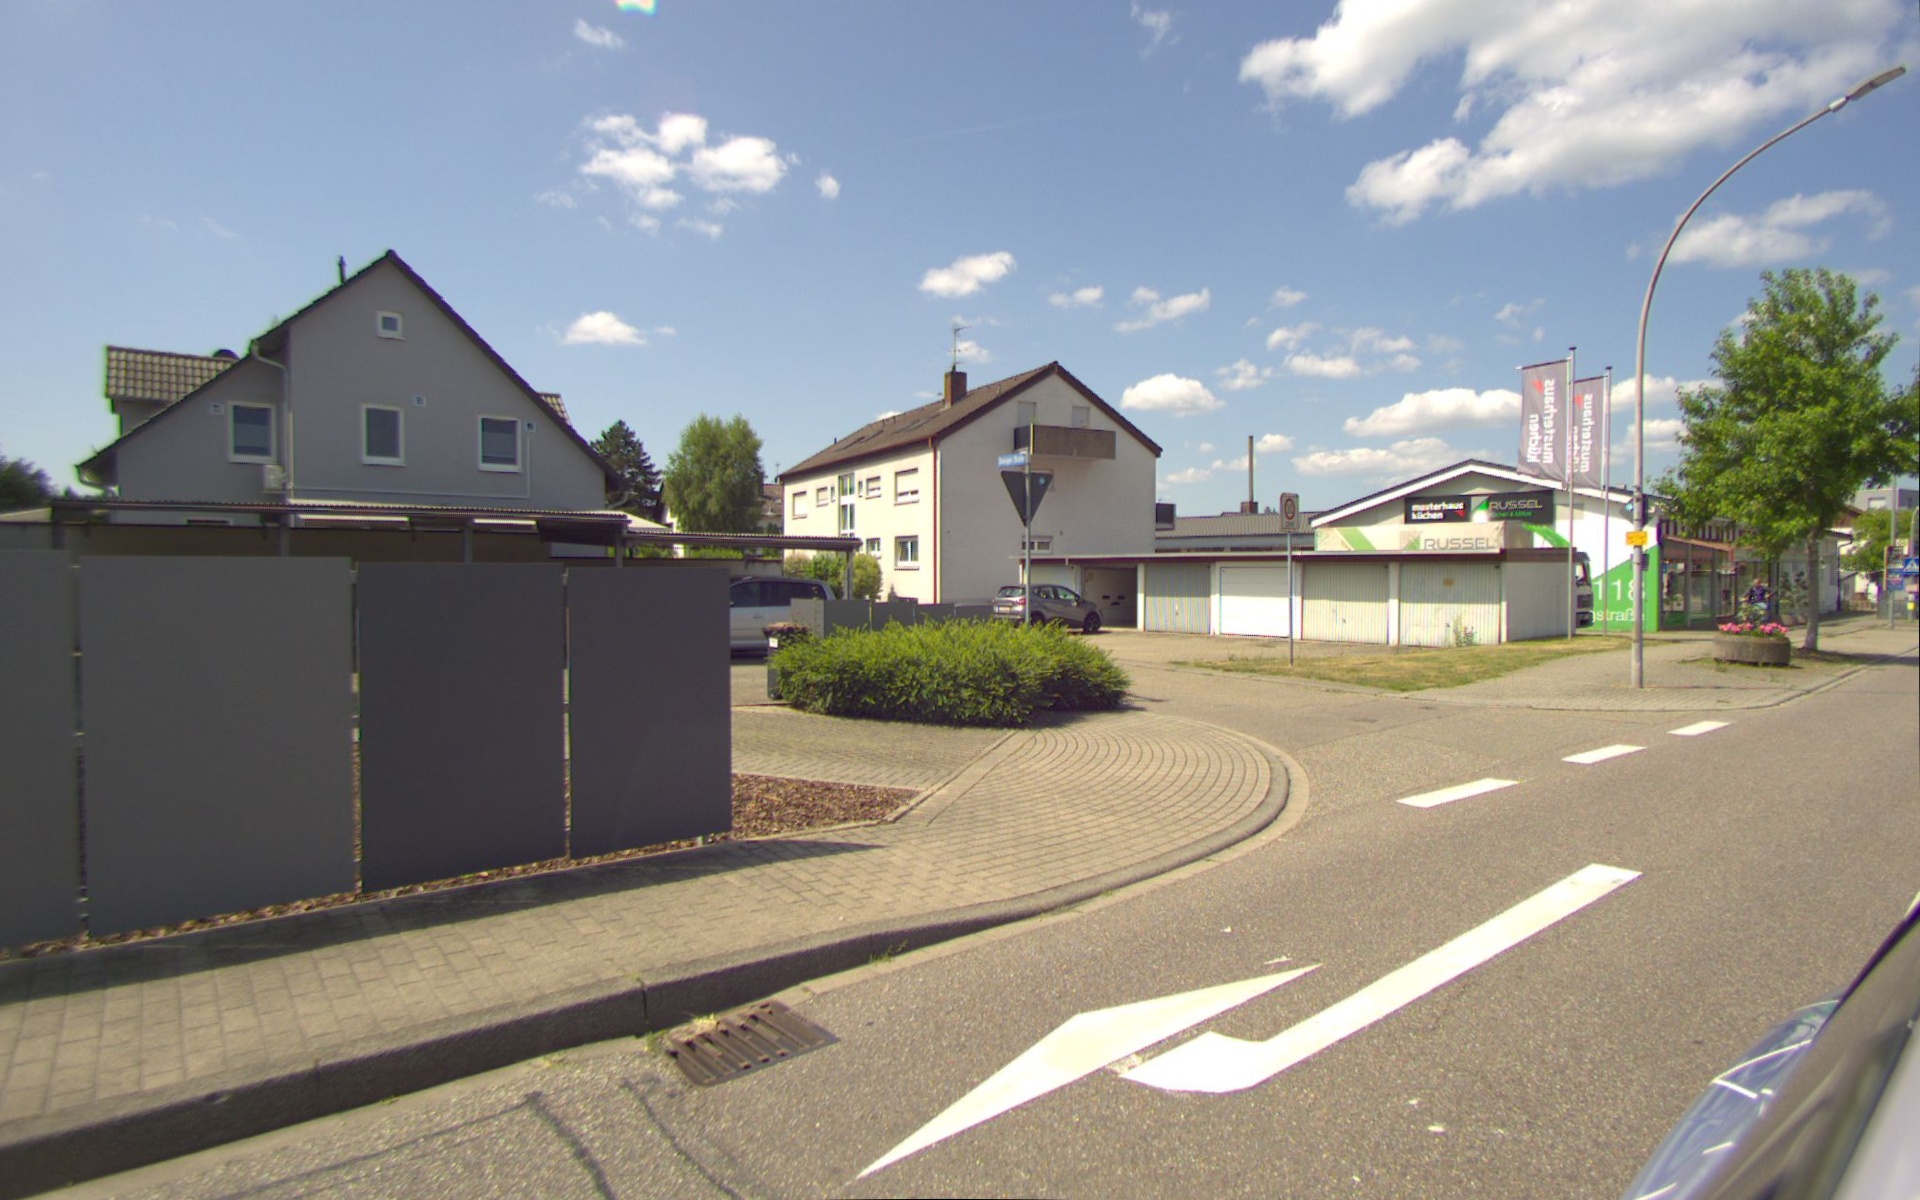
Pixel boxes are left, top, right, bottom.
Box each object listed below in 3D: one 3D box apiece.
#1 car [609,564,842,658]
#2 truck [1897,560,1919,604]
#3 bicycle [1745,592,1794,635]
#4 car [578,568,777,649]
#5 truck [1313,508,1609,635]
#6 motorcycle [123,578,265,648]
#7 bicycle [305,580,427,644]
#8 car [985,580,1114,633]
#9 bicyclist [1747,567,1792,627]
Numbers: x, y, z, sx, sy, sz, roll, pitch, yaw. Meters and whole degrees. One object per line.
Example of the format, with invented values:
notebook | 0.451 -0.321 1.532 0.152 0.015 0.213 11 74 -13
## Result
car | -4.602 0.217 20.146 4.139 1.669 1.741 2 0 -39
truck | 63.704 -1.203 66.768 2.571 2.795 6.239 3 3 42
bicycle | 23.232 0.378 29.034 1.911 1.180 0.803 0 -3 -44
car | -6.149 0.194 22.201 3.783 1.607 1.741 2 0 -39
truck | 15.844 -0.880 32.619 2.632 3.617 8.182 -2 2 -42
motorcycle | -13.361 0.231 17.699 1.916 1.178 0.649 2 0 -38
bicycle | -11.365 0.234 19.400 1.916 1.187 0.649 2 0 -38
car | 2.825 0.147 31.593 4.059 1.522 1.678 -1 1 -41
bicyclist | 23.135 -0.082 28.905 1.093 1.651 0.803 1 -3 -44
